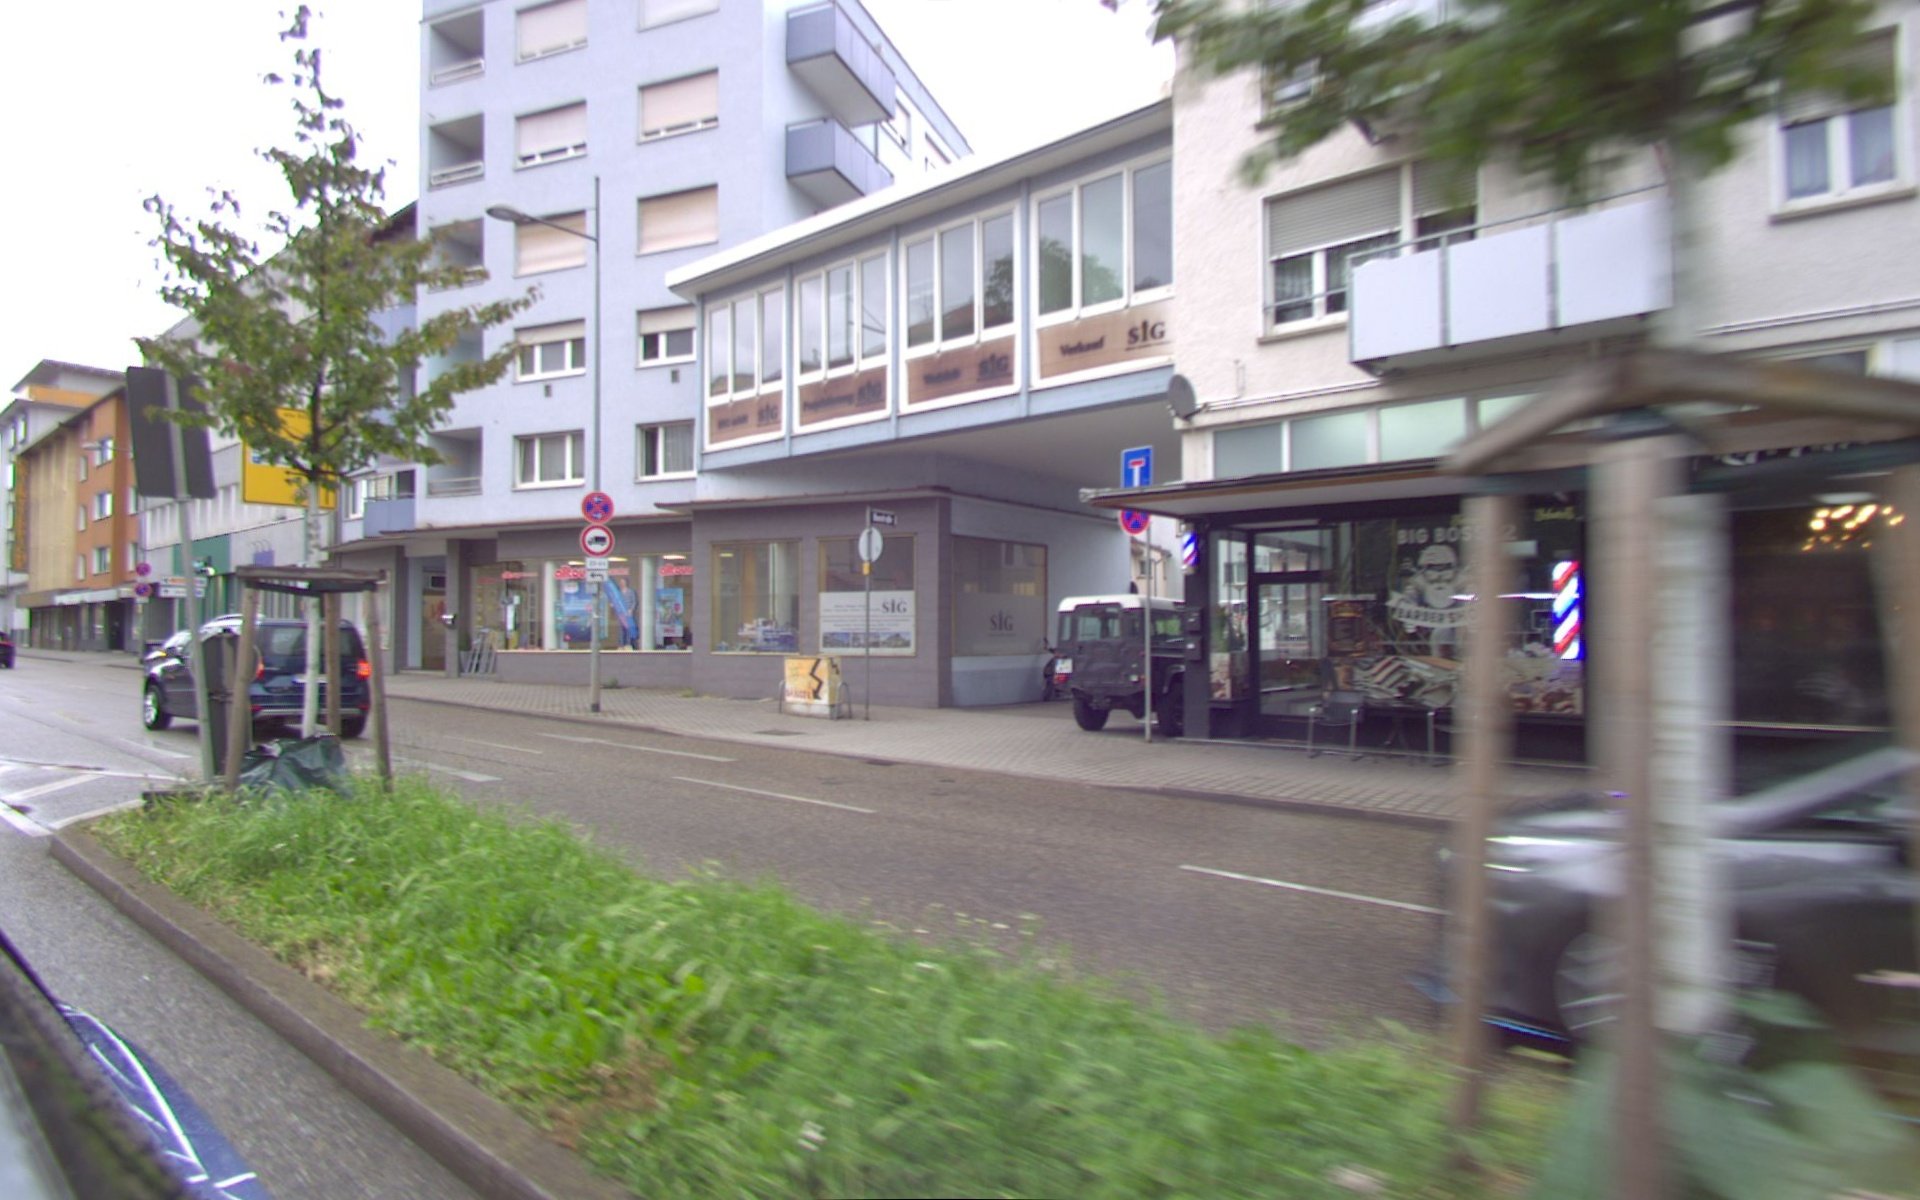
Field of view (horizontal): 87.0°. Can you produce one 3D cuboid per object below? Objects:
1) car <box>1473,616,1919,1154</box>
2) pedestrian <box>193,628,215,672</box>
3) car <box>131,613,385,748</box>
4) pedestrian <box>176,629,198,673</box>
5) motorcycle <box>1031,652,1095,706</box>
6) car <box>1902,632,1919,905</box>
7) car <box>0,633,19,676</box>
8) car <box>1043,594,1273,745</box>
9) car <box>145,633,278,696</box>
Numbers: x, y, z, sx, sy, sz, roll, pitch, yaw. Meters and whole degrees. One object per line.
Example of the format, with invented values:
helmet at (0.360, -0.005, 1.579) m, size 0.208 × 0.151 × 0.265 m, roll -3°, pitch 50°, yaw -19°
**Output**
car at (3.770, 0.803, 2.902) m, size 3.836 × 1.452 × 1.681 m, roll -2°, pitch -5°, yaw 39°
pedestrian at (-29.922, 1.974, 40.056) m, size 0.531 × 1.701 × 0.506 m, roll 0°, pitch -3°, yaw 40°
car at (-9.961, 1.087, 14.297) m, size 3.833 × 1.656 × 1.756 m, roll -2°, pitch -5°, yaw 37°
pedestrian at (-30.267, 1.985, 39.629) m, size 0.531 × 1.701 × 0.520 m, roll 0°, pitch -3°, yaw 40°
motorcycle at (2.313, 1.731, 22.471) m, size 0.542 × 1.096 × 1.852 m, roll -1°, pitch -1°, yaw 37°
car at (6.924, 0.923, 4.358) m, size 4.022 × 1.601 × 1.755 m, roll -2°, pitch -5°, yaw 39°
car at (-36.350, 1.957, 37.286) m, size 3.996 × 1.490 × 1.885 m, roll -1°, pitch -4°, yaw 40°
car at (3.231, 1.028, 16.018) m, size 1.894 × 2.070 × 3.945 m, roll -2°, pitch -3°, yaw 41°
car at (-19.975, 1.689, 26.964) m, size 4.198 × 1.493 × 1.829 m, roll -1°, pitch -4°, yaw 40°
